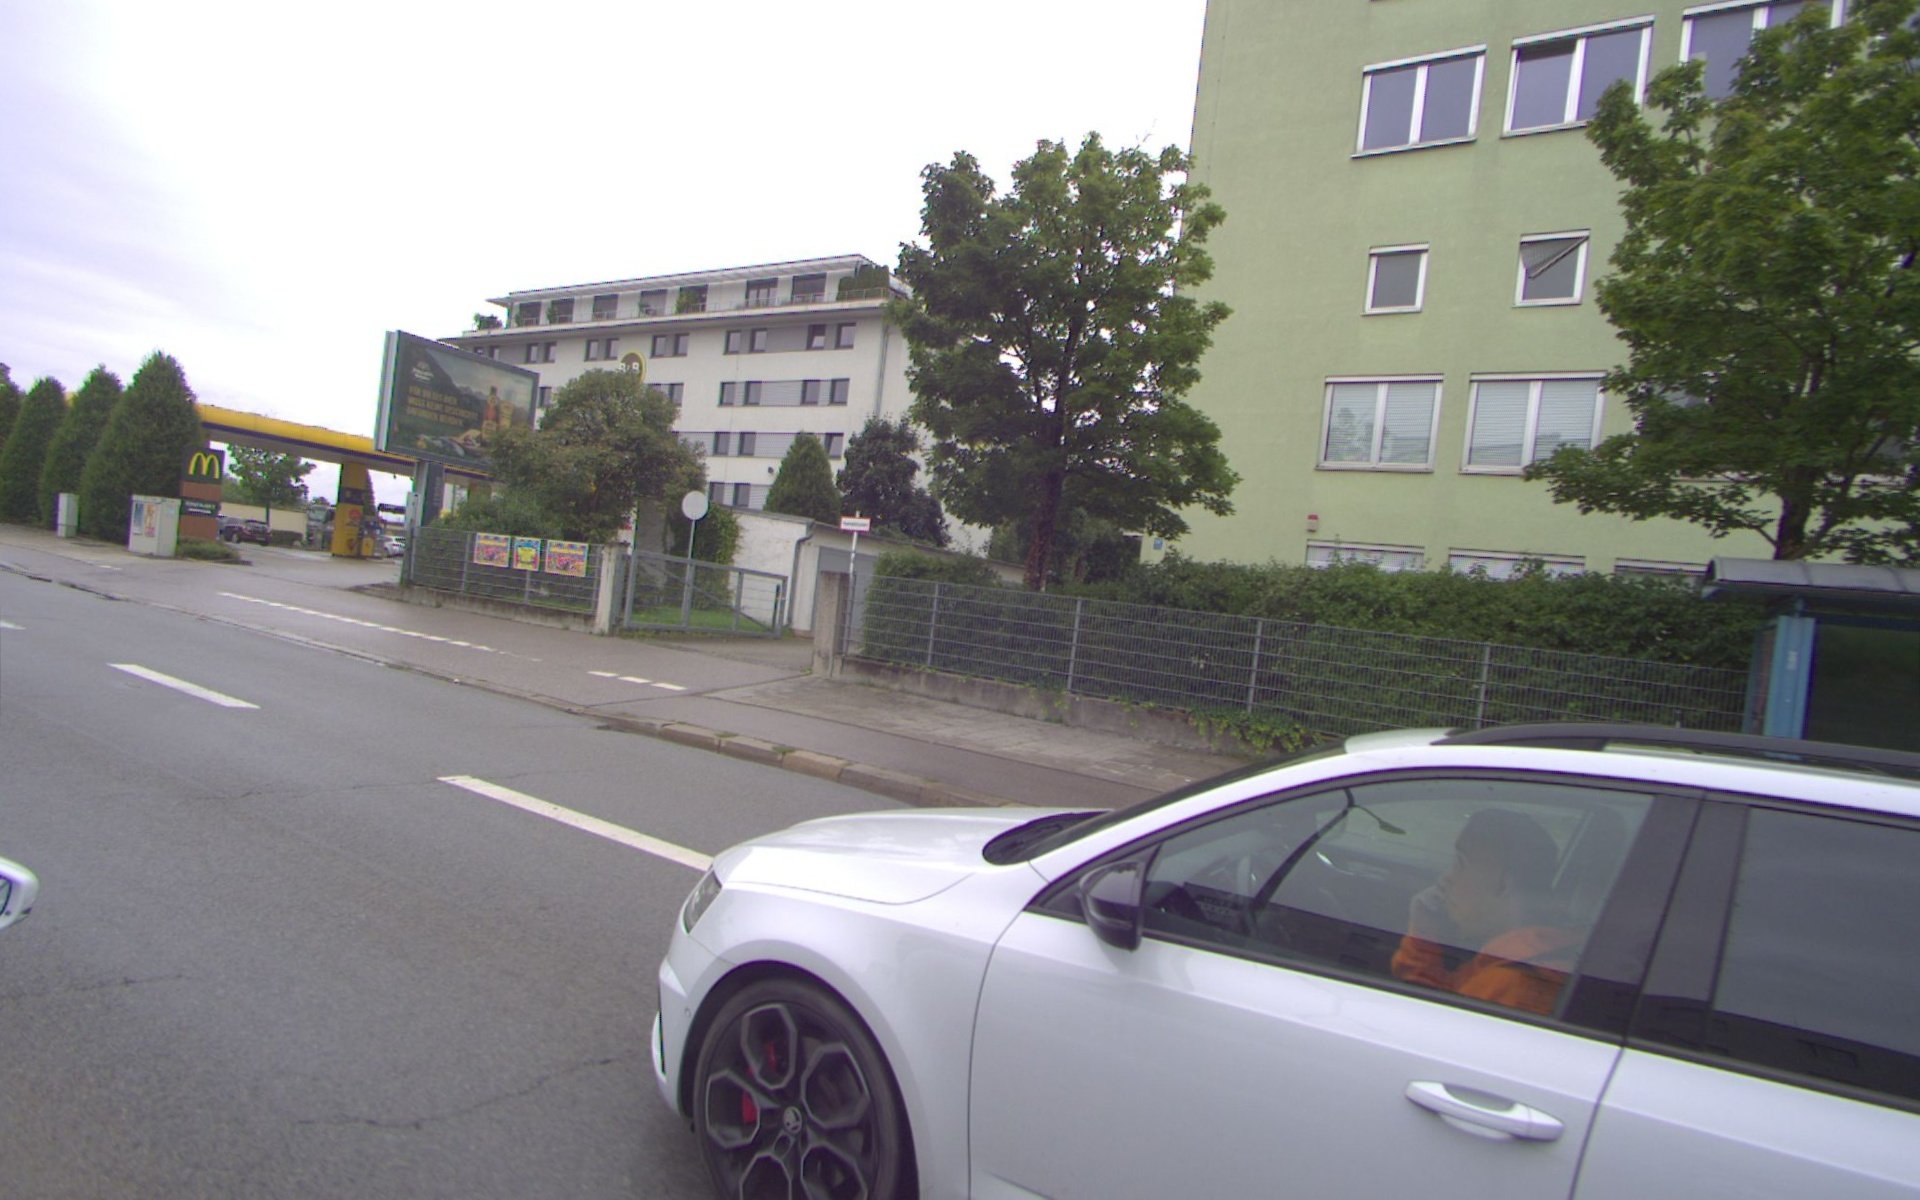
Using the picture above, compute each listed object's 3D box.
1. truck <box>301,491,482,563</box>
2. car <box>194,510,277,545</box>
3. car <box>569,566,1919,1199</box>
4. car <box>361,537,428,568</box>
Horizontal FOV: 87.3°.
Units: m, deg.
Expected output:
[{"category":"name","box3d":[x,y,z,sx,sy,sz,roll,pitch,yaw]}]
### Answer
[{"category":"truck","box3d":[-43.209,-5.420,77.099,2.569,3.904,11.900,7,0,35]},{"category":"car","box3d":[-40.928,-4.080,56.830,4.283,1.400,1.704,7,-1,22]},{"category":"car","box3d":[1.431,0.954,2.285,4.426,1.485,1.881,7,-1,31]},{"category":"car","box3d":[-36.851,-3.101,65.533,4.124,1.495,1.906,7,-1,32]}]
